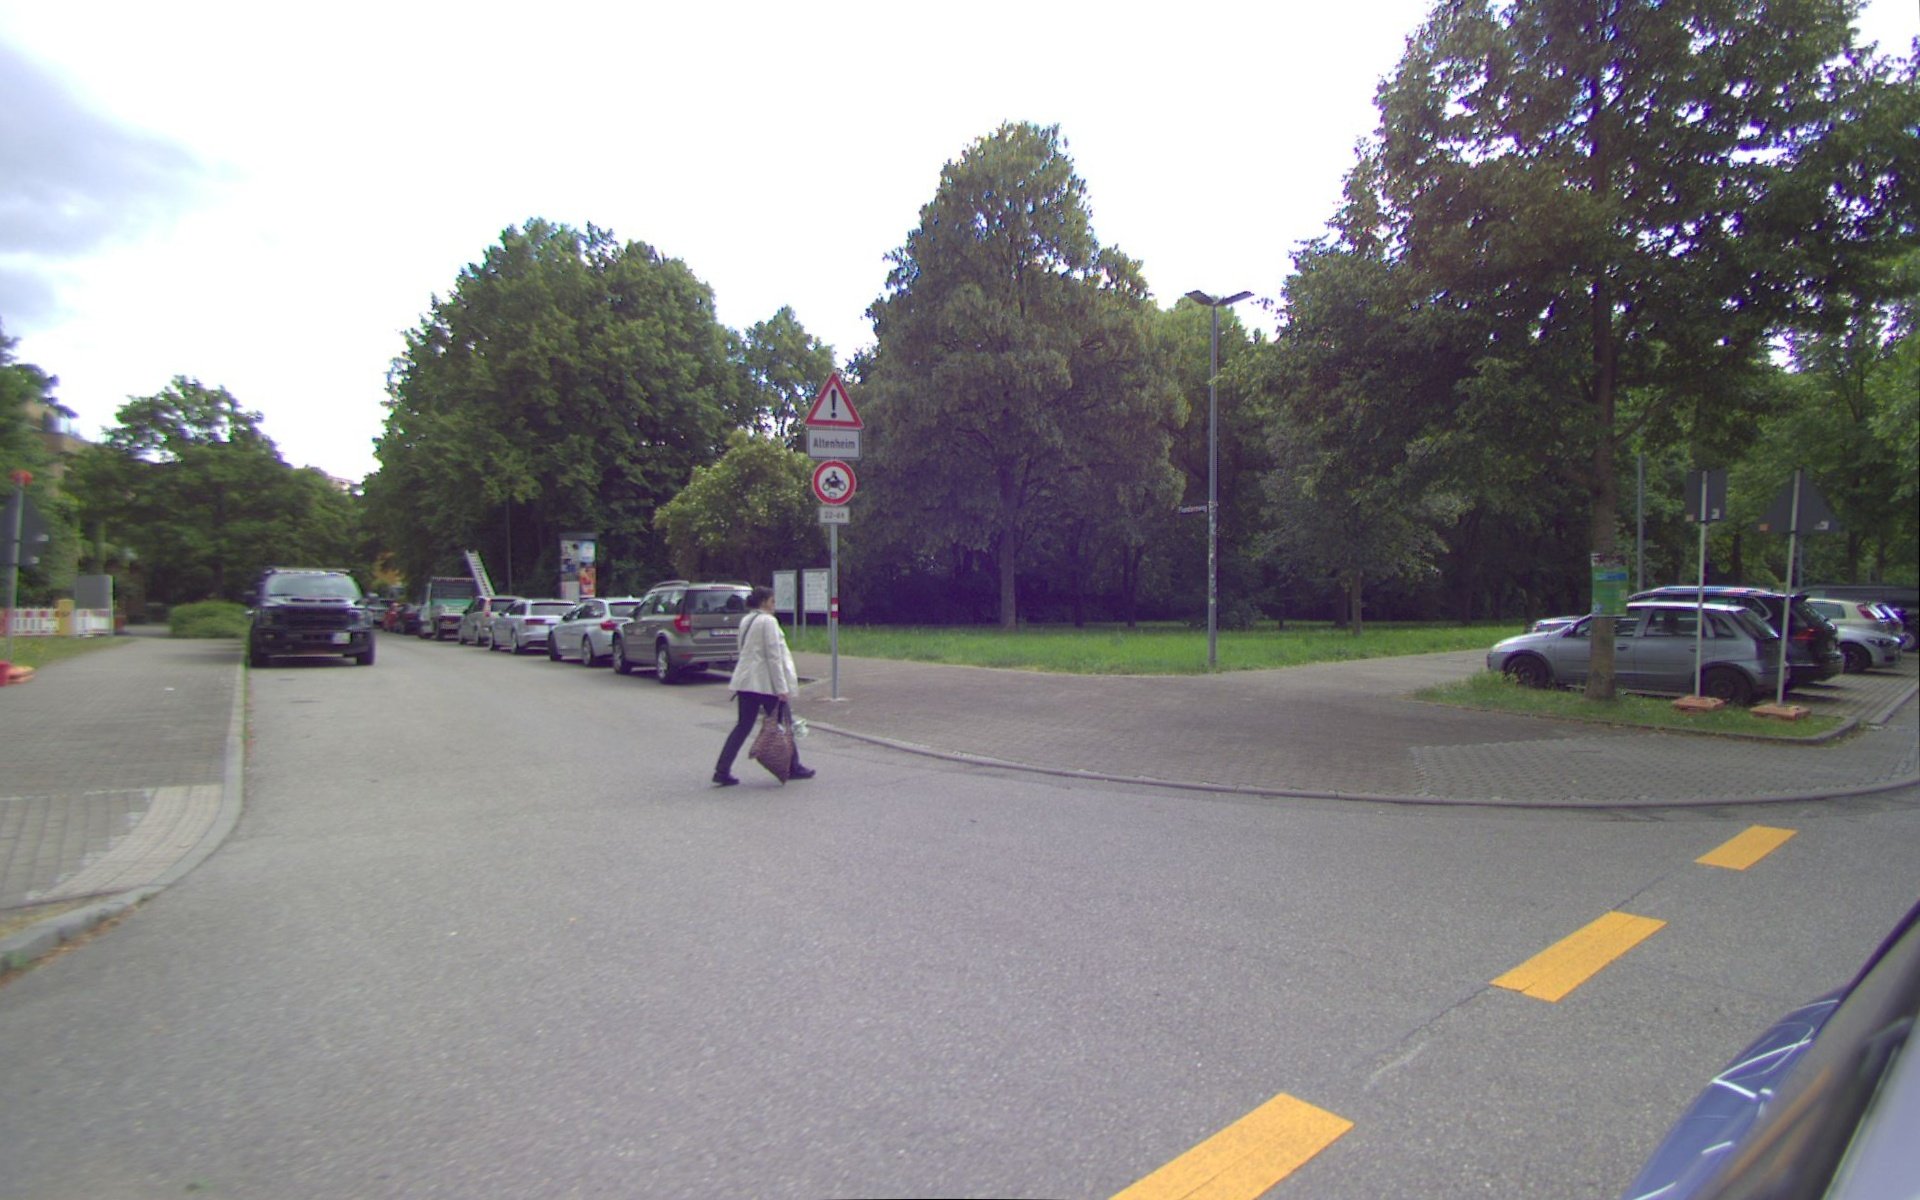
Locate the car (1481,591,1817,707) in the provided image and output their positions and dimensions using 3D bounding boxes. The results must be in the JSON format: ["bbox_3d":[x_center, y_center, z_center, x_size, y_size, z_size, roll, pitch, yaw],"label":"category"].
[{"bbox_3d":[10.193,0.621,15.192,1.820,1.420,3.840,-1,2,-40],"label":"car"}]

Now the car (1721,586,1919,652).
[{"bbox_3d":[23.131,0.458,27.202,1.762,1.529,3.969,0,2,-41],"label":"car"}]

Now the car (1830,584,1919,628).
[{"bbox_3d":[38.068,0.235,40.746,2.047,1.697,4.421,1,1,-42],"label":"car"}]

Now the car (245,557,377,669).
[{"bbox_3d":[-13.984,0.238,21.660,2.097,2.083,5.335,0,0,-36],"label":"car"}]

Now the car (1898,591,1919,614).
[{"bbox_3d":[62.539,0.195,64.460,4.007,1.439,1.765,2,2,43],"label":"car"}]

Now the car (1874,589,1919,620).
[{"bbox_3d":[47.487,0.261,49.409,1.819,1.474,4.079,0,2,-41],"label":"car"}]

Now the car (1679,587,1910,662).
[{"bbox_3d":[19.647,0.501,23.959,1.780,1.546,3.993,-1,2,-41],"label":"car"}]

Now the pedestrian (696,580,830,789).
[{"bbox_3d":[-1.629,0.645,8.329,0.794,1.596,0.837,0,0,-37],"label":"pedestrian"}]

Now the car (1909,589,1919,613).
[{"bbox_3d":[64.486,0.076,65.716,1.831,1.567,4.115,0,2,-45],"label":"car"}]

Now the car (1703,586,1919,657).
[{"bbox_3d":[21.470,0.476,25.614,1.732,1.529,3.970,0,2,-40],"label":"car"}]

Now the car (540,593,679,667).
[{"bbox_3d":[-7.799,0.583,22.246,1.671,1.446,4.405,-1,0,-36],"label":"car"}]

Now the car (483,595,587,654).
[{"bbox_3d":[-11.551,0.597,27.327,1.671,1.446,4.442,-1,0,-35],"label":"car"}]

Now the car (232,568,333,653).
[{"bbox_3d":[-18.562,0.263,27.621,2.097,2.083,5.335,0,0,-36],"label":"car"}]

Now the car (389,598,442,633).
[{"bbox_3d":[-25.558,0.704,47.416,1.671,1.545,4.296,-1,0,-35],"label":"car"}]

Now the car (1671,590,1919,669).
[{"bbox_3d":[17.919,0.553,21.759,1.903,1.448,3.992,-1,2,-42],"label":"car"}]

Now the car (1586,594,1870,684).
[{"bbox_3d":[14.009,0.631,18.636,1.789,1.375,3.842,-1,2,-38],"label":"car"}]

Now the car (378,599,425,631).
[{"bbox_3d":[-28.428,0.732,51.456,1.671,1.545,4.296,-1,0,-35],"label":"car"}]

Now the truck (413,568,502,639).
[{"bbox_3d":[-18.928,0.119,37.996,2.151,2.457,5.523,0,0,-36],"label":"truck"}]

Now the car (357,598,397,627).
[{"bbox_3d":[-34.721,0.701,60.263,1.671,1.650,4.296,-1,0,-35],"label":"car"}]

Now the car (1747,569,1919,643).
[{"bbox_3d":[26.918,0.135,30.305,2.128,2.038,4.964,0,2,-41],"label":"car"}]

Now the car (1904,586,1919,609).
[{"bbox_3d":[71.689,-0.145,73.135,1.938,1.714,4.829,0,2,-39],"label":"car"}]

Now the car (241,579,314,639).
[{"bbox_3d":[-25.588,0.315,37.869,2.097,2.083,5.335,0,0,-36],"label":"car"}]

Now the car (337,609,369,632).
[{"bbox_3d":[-44.240,1.467,73.731,1.671,1.545,4.296,-1,0,-35],"label":"car"}]

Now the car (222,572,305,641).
[{"bbox_3d":[-22.779,0.193,33.038,2.097,2.083,5.335,0,0,-36],"label":"car"}]

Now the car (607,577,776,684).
[{"bbox_3d":[-4.862,0.457,17.990,1.734,1.689,3.792,0,0,-35],"label":"car"}]

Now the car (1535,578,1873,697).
[{"bbox_3d":[12.109,0.483,16.702,1.944,1.670,4.134,-1,2,-38],"label":"car"}]

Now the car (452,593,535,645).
[{"bbox_3d":[-15.060,0.563,32.534,1.671,1.545,4.296,-1,0,-35],"label":"car"}]
